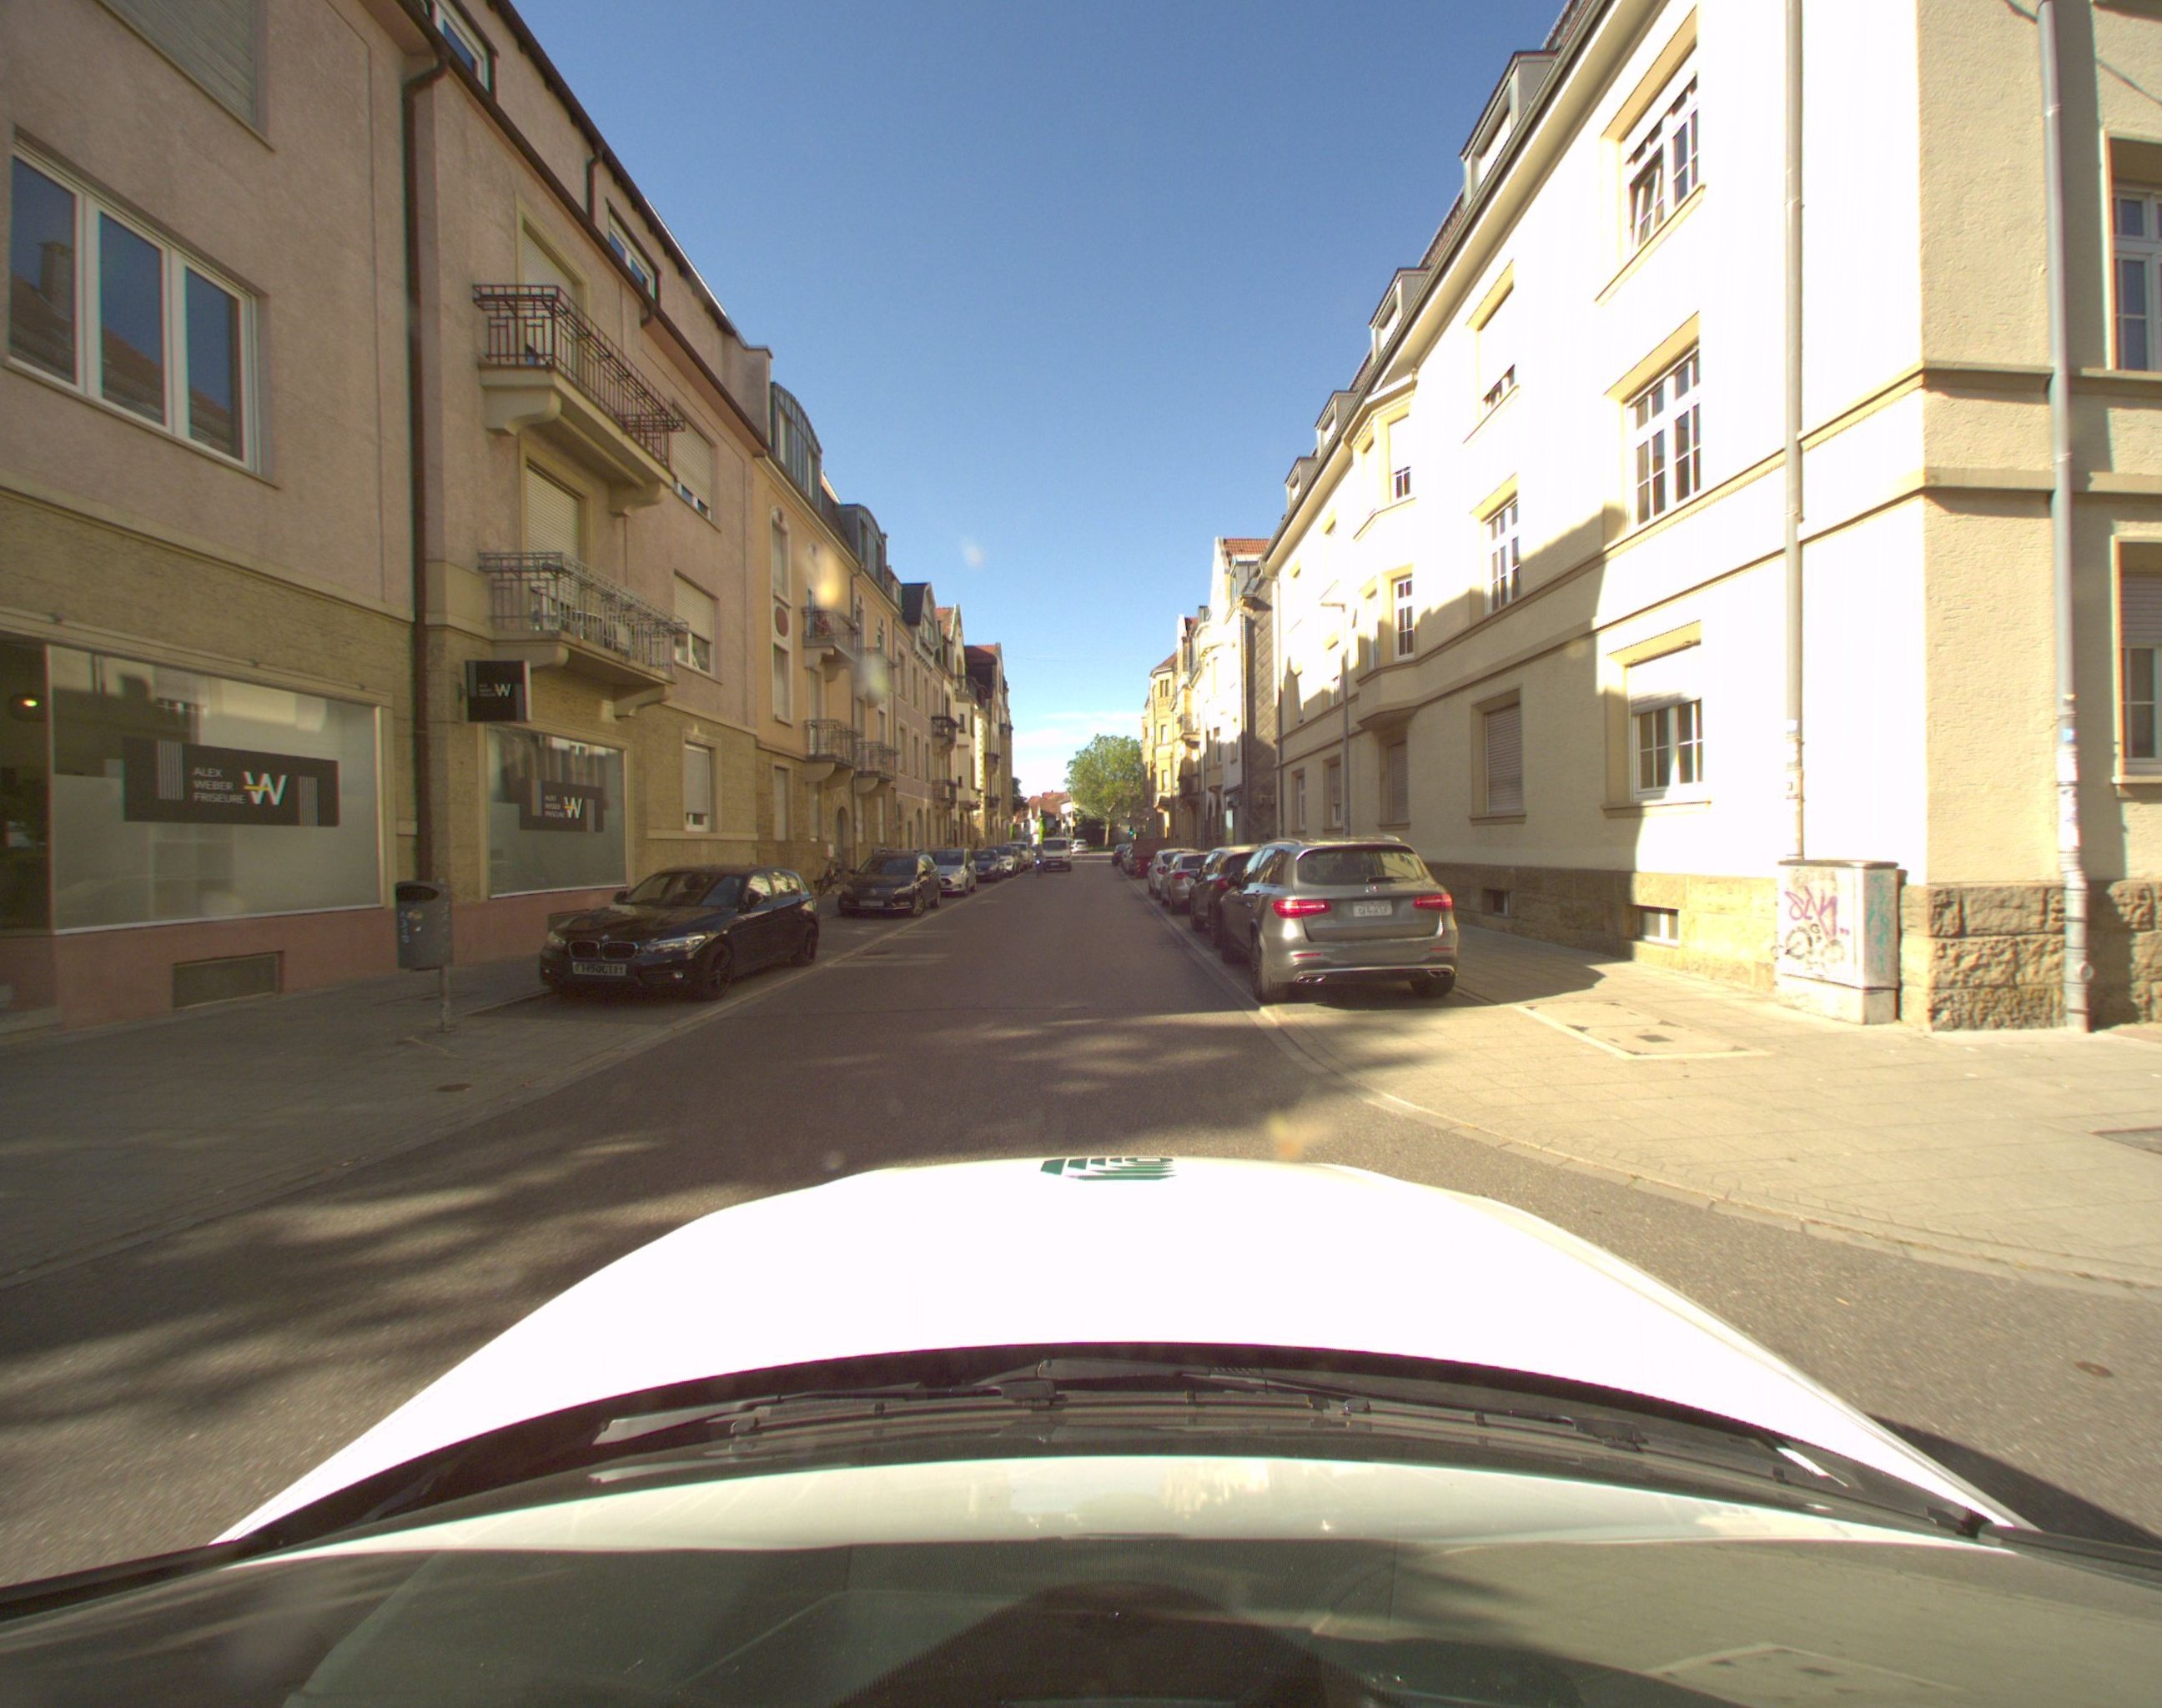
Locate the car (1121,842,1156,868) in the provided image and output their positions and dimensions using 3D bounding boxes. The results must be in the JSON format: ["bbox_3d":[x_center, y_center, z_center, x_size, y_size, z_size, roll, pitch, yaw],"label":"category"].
[{"bbox_3d":[3.370,0.090,48.264,1.832,1.431,4.029,-2,-1,1],"label":"car"}]

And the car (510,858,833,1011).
[{"bbox_3d":[-4.667,0.793,10.119,1.673,1.426,4.276,1,0,2],"label":"car"}]

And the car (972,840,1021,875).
[{"bbox_3d":[-4.227,0.166,41.491,1.997,1.619,4.486,1,0,0],"label":"car"}]

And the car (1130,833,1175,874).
[{"bbox_3d":[3.326,0.009,38.570,1.832,1.787,4.029,-1,-1,1],"label":"car"}]

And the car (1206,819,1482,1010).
[{"bbox_3d":[2.719,0.560,9.695,1.905,1.644,4.777,-2,-1,3],"label":"car"}]

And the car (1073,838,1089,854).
[{"bbox_3d":[0.006,-0.991,101.904,1.997,1.913,4.487,1,0,0],"label":"car"}]

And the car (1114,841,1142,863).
[{"bbox_3d":[3.282,-0.104,57.398,1.832,1.431,4.029,-2,-1,1],"label":"car"}]

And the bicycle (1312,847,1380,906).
[{"bbox_3d":[6.155,0.475,19.072,0.759,1.246,2.592,-1,1,1],"label":"bicycle"}]

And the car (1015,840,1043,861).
[{"bbox_3d":[-4.279,-0.307,67.619,1.997,1.605,4.486,1,0,0],"label":"car"}]

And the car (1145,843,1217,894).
[{"bbox_3d":[3.063,0.432,25.775,1.832,1.431,4.029,-2,-1,1],"label":"car"}]

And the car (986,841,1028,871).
[{"bbox_3d":[-4.224,0.085,46.998,1.997,1.619,4.486,1,0,0],"label":"car"}]

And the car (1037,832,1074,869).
[{"bbox_3d":[-1.450,-0.198,48.003,1.997,1.999,4.486,1,0,0],"label":"car"}]

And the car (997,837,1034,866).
[{"bbox_3d":[-4.157,-0.170,52.635,1.997,1.788,4.486,1,0,0],"label":"car"}]

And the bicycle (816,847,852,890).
[{"bbox_3d":[-7.796,0.442,25.780,0.539,1.301,1.867,0,1,2],"label":"bicycle"}]

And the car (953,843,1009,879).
[{"bbox_3d":[-4.439,0.291,36.837,1.972,1.482,4.327,1,0,0],"label":"car"}]

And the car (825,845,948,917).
[{"bbox_3d":[-4.721,0.591,20.469,1.997,1.582,4.486,1,0,0],"label":"car"}]

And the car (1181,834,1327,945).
[{"bbox_3d":[2.863,0.555,14.317,1.739,1.608,4.029,-2,-1,1],"label":"car"}]

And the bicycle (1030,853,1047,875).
[{"bbox_3d":[-2.122,0.496,40.872,0.660,1.019,2.066,-2,0,0],"label":"bicycle"}]

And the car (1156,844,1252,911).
[{"bbox_3d":[2.965,0.547,20.383,1.832,1.431,4.029,-2,-1,1],"label":"car"}]

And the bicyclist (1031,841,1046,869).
[{"bbox_3d":[-2.129,0.048,40.885,0.660,1.385,0.754,-2,0,-1],"label":"bicyclist"}]

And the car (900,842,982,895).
[{"bbox_3d":[-4.646,0.445,27.738,1.997,1.619,4.486,1,0,0],"label":"car"}]
